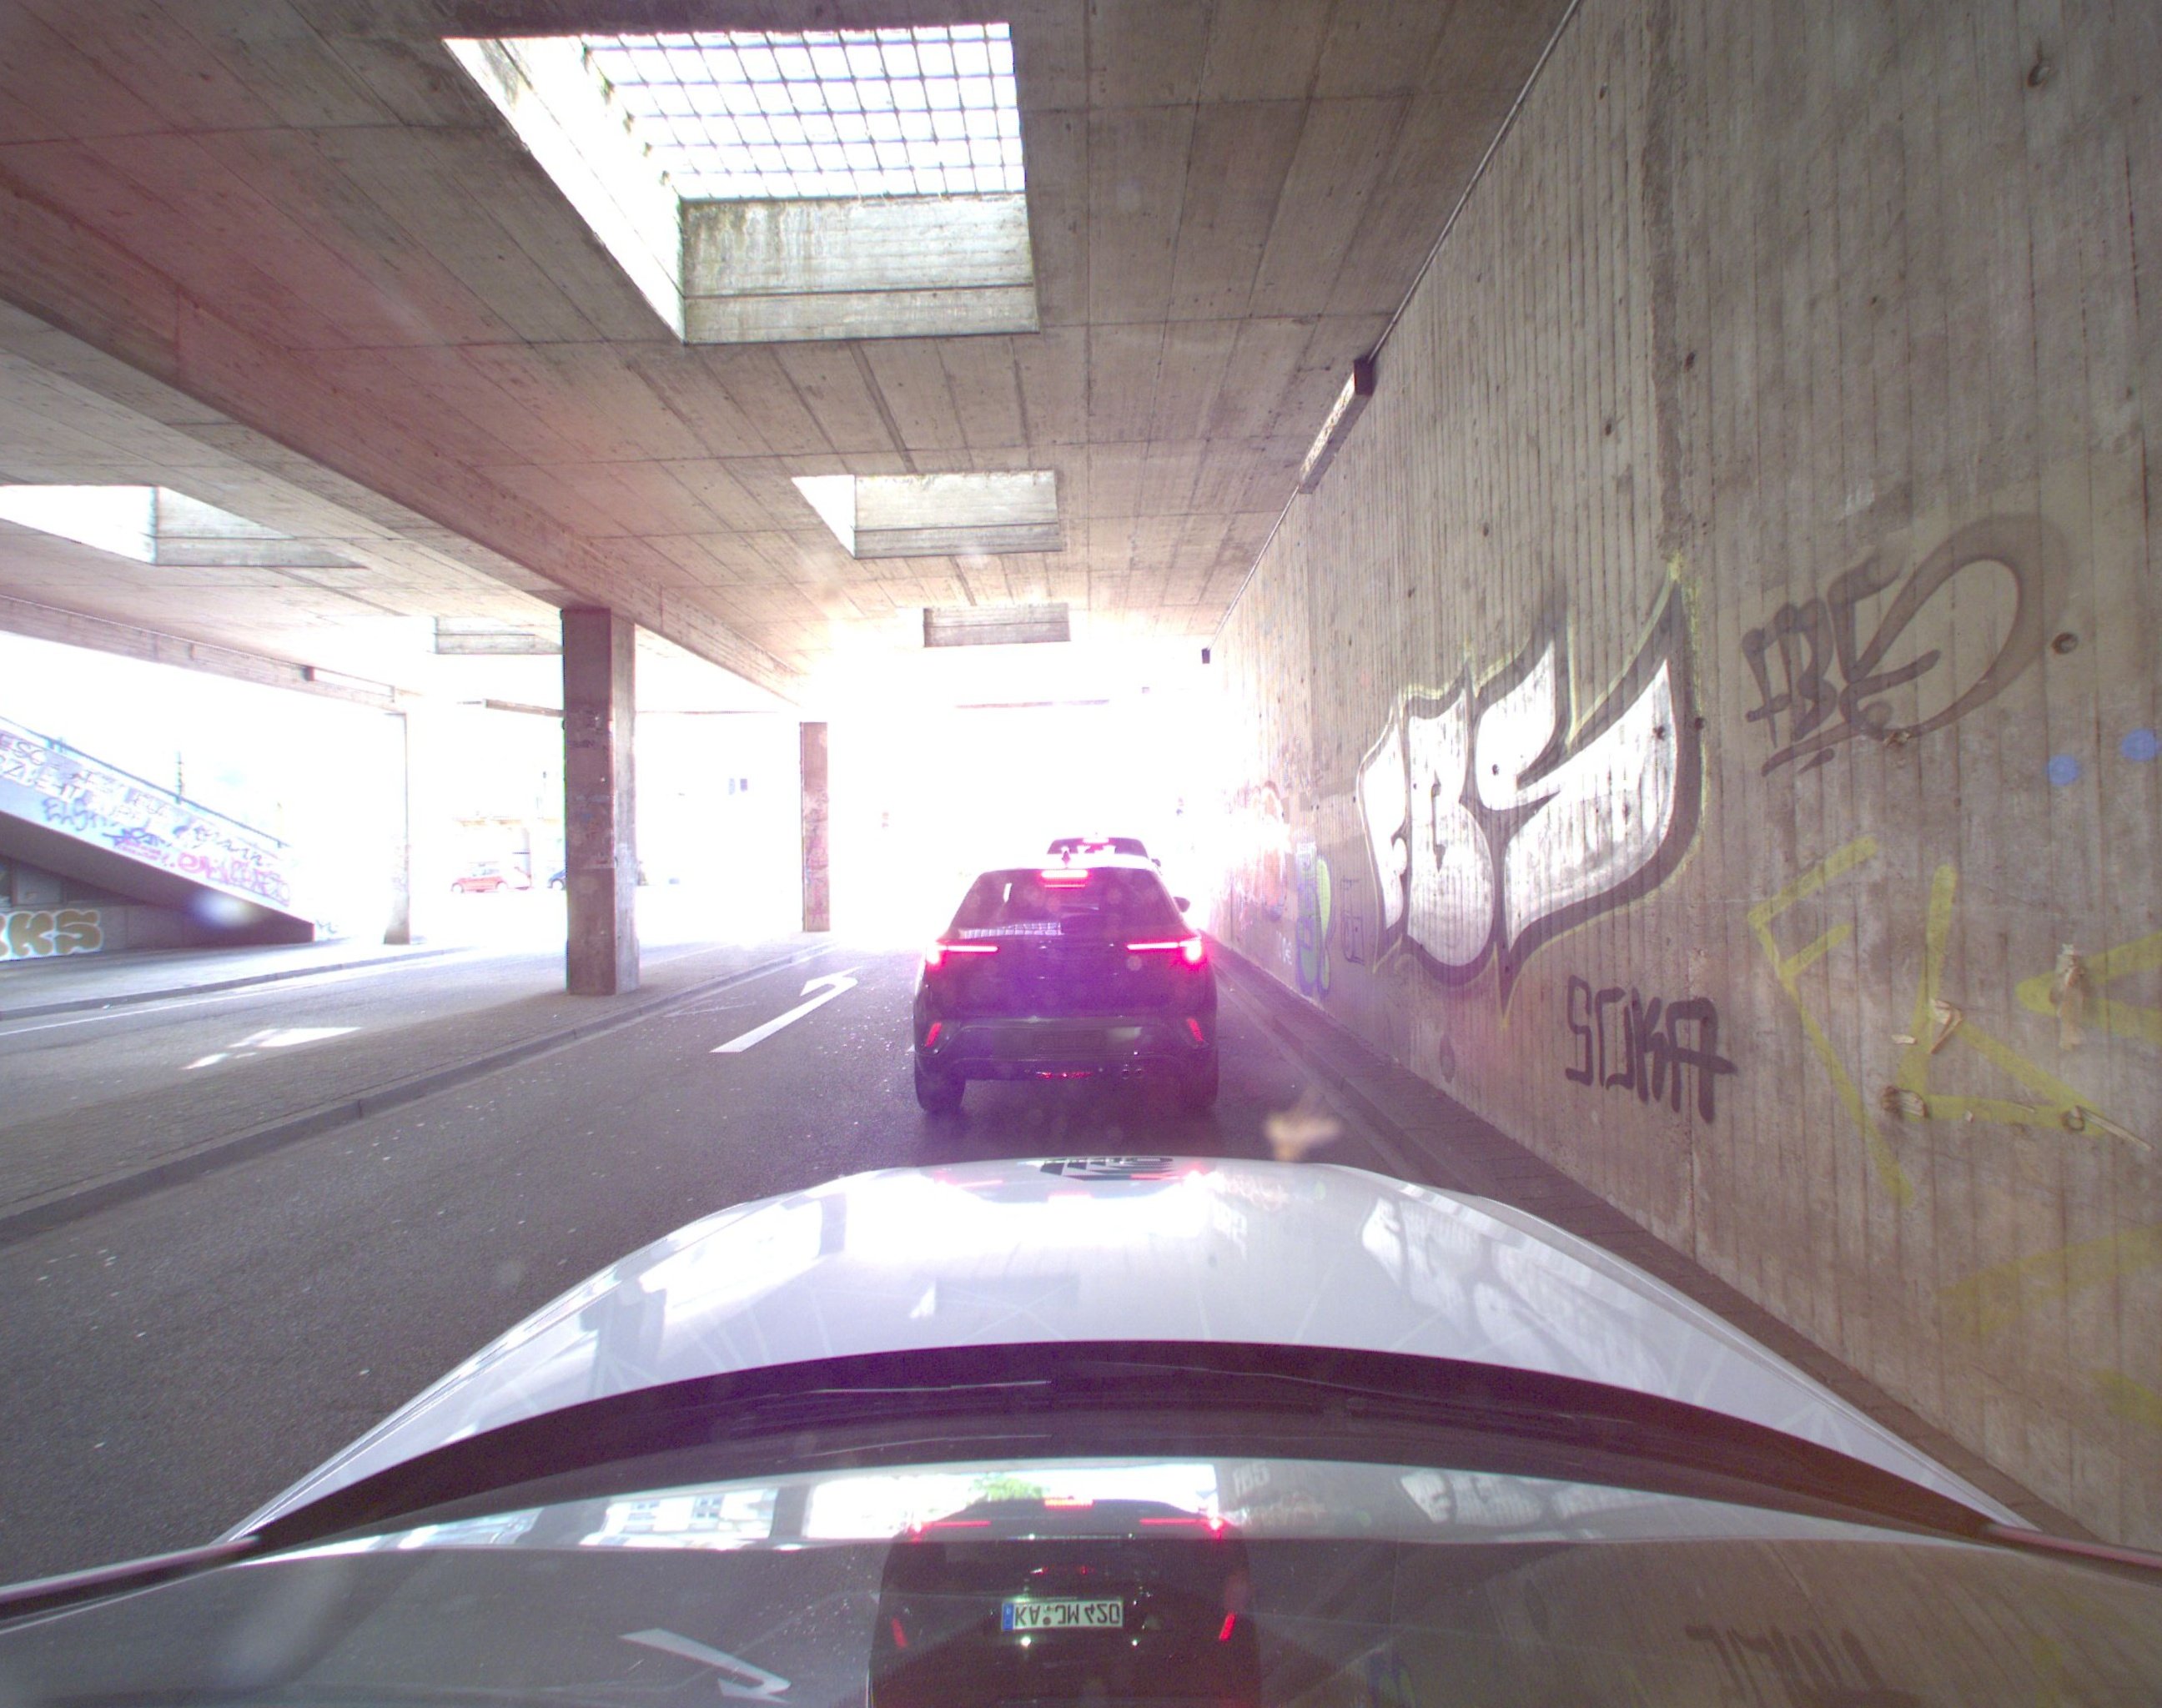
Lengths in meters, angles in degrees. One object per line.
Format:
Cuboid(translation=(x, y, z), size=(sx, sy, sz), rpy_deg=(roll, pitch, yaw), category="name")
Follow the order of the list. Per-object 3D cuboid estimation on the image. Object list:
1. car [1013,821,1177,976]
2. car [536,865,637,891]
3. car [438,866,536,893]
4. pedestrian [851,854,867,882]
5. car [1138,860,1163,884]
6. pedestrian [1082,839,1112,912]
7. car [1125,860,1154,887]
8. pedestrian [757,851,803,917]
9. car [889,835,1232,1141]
Cuboid(translation=(0.233, 0.547, 12.122), size=(1.986, 1.871, 4.002), rpy_deg=(-2, 0, 2), category="car")
Cuboid(translation=(-27.367, 1.307, 45.192), size=(4.393, 1.409, 1.925), rpy_deg=(0, -1, -1), category="car")
Cuboid(translation=(-32.982, 1.404, 45.267), size=(3.975, 1.409, 1.925), rpy_deg=(0, -1, -1), category="car")
Cuboid(translation=(-12.969, 0.816, 47.598), size=(0.669, 1.637, 0.741), rpy_deg=(0, -1, 1), category="pedestrian")
Cuboid(translation=(5.880, 1.500, 68.446), size=(1.983, 1.970, 4.172), rpy_deg=(0, -1, 7), category="car")
Cuboid(translation=(0.399, 0.522, 20.043), size=(0.728, 1.734, 0.874), rpy_deg=(0, -1, 1), category="pedestrian")
Cuboid(translation=(4.510, 1.446, 62.293), size=(1.983, 1.970, 4.172), rpy_deg=(0, -1, 7), category="car")
Cuboid(translation=(-8.187, 0.801, 22.192), size=(0.925, 1.762, 0.795), rpy_deg=(0, -1, 3), category="pedestrian")
Cuboid(translation=(-0.041, 0.656, 6.194), size=(1.758, 1.571, 4.002), rpy_deg=(0, 1, 2), category="car")
